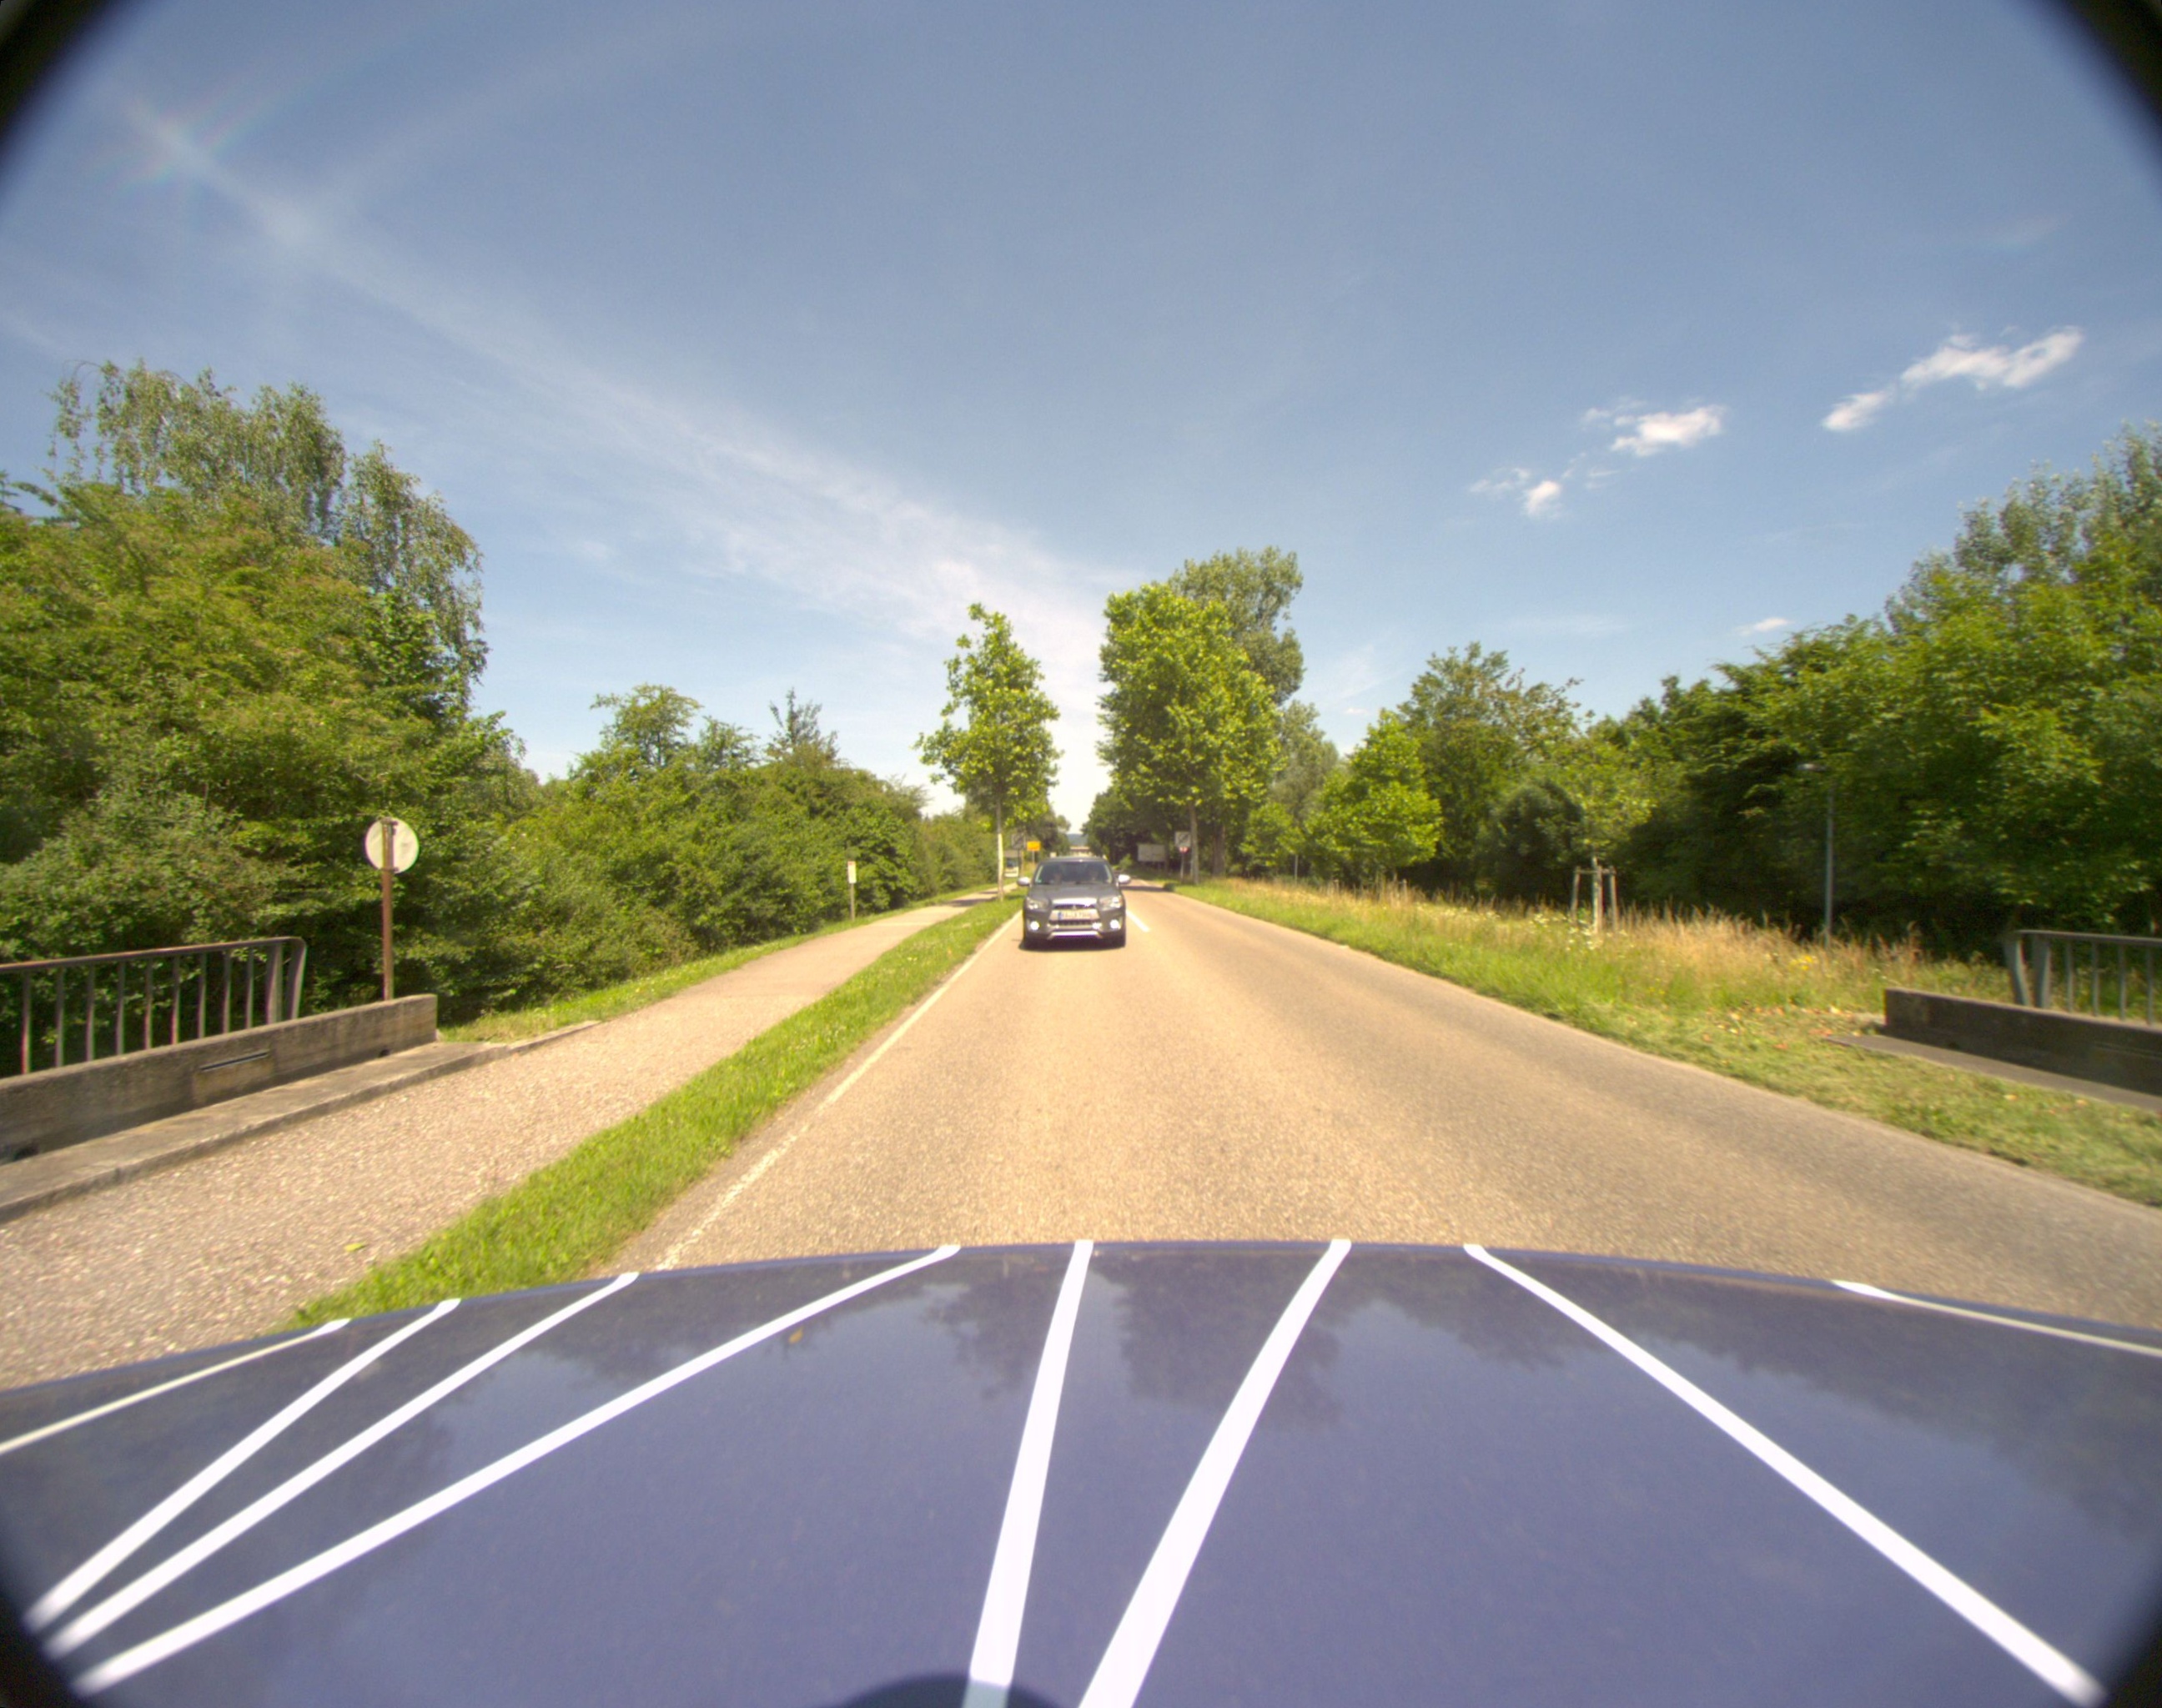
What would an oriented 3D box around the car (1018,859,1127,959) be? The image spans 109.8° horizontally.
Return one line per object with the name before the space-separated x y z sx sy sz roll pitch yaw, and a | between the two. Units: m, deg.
car | -0.147 0.907 14.562 1.750 1.525 4.524 -1 0 0
